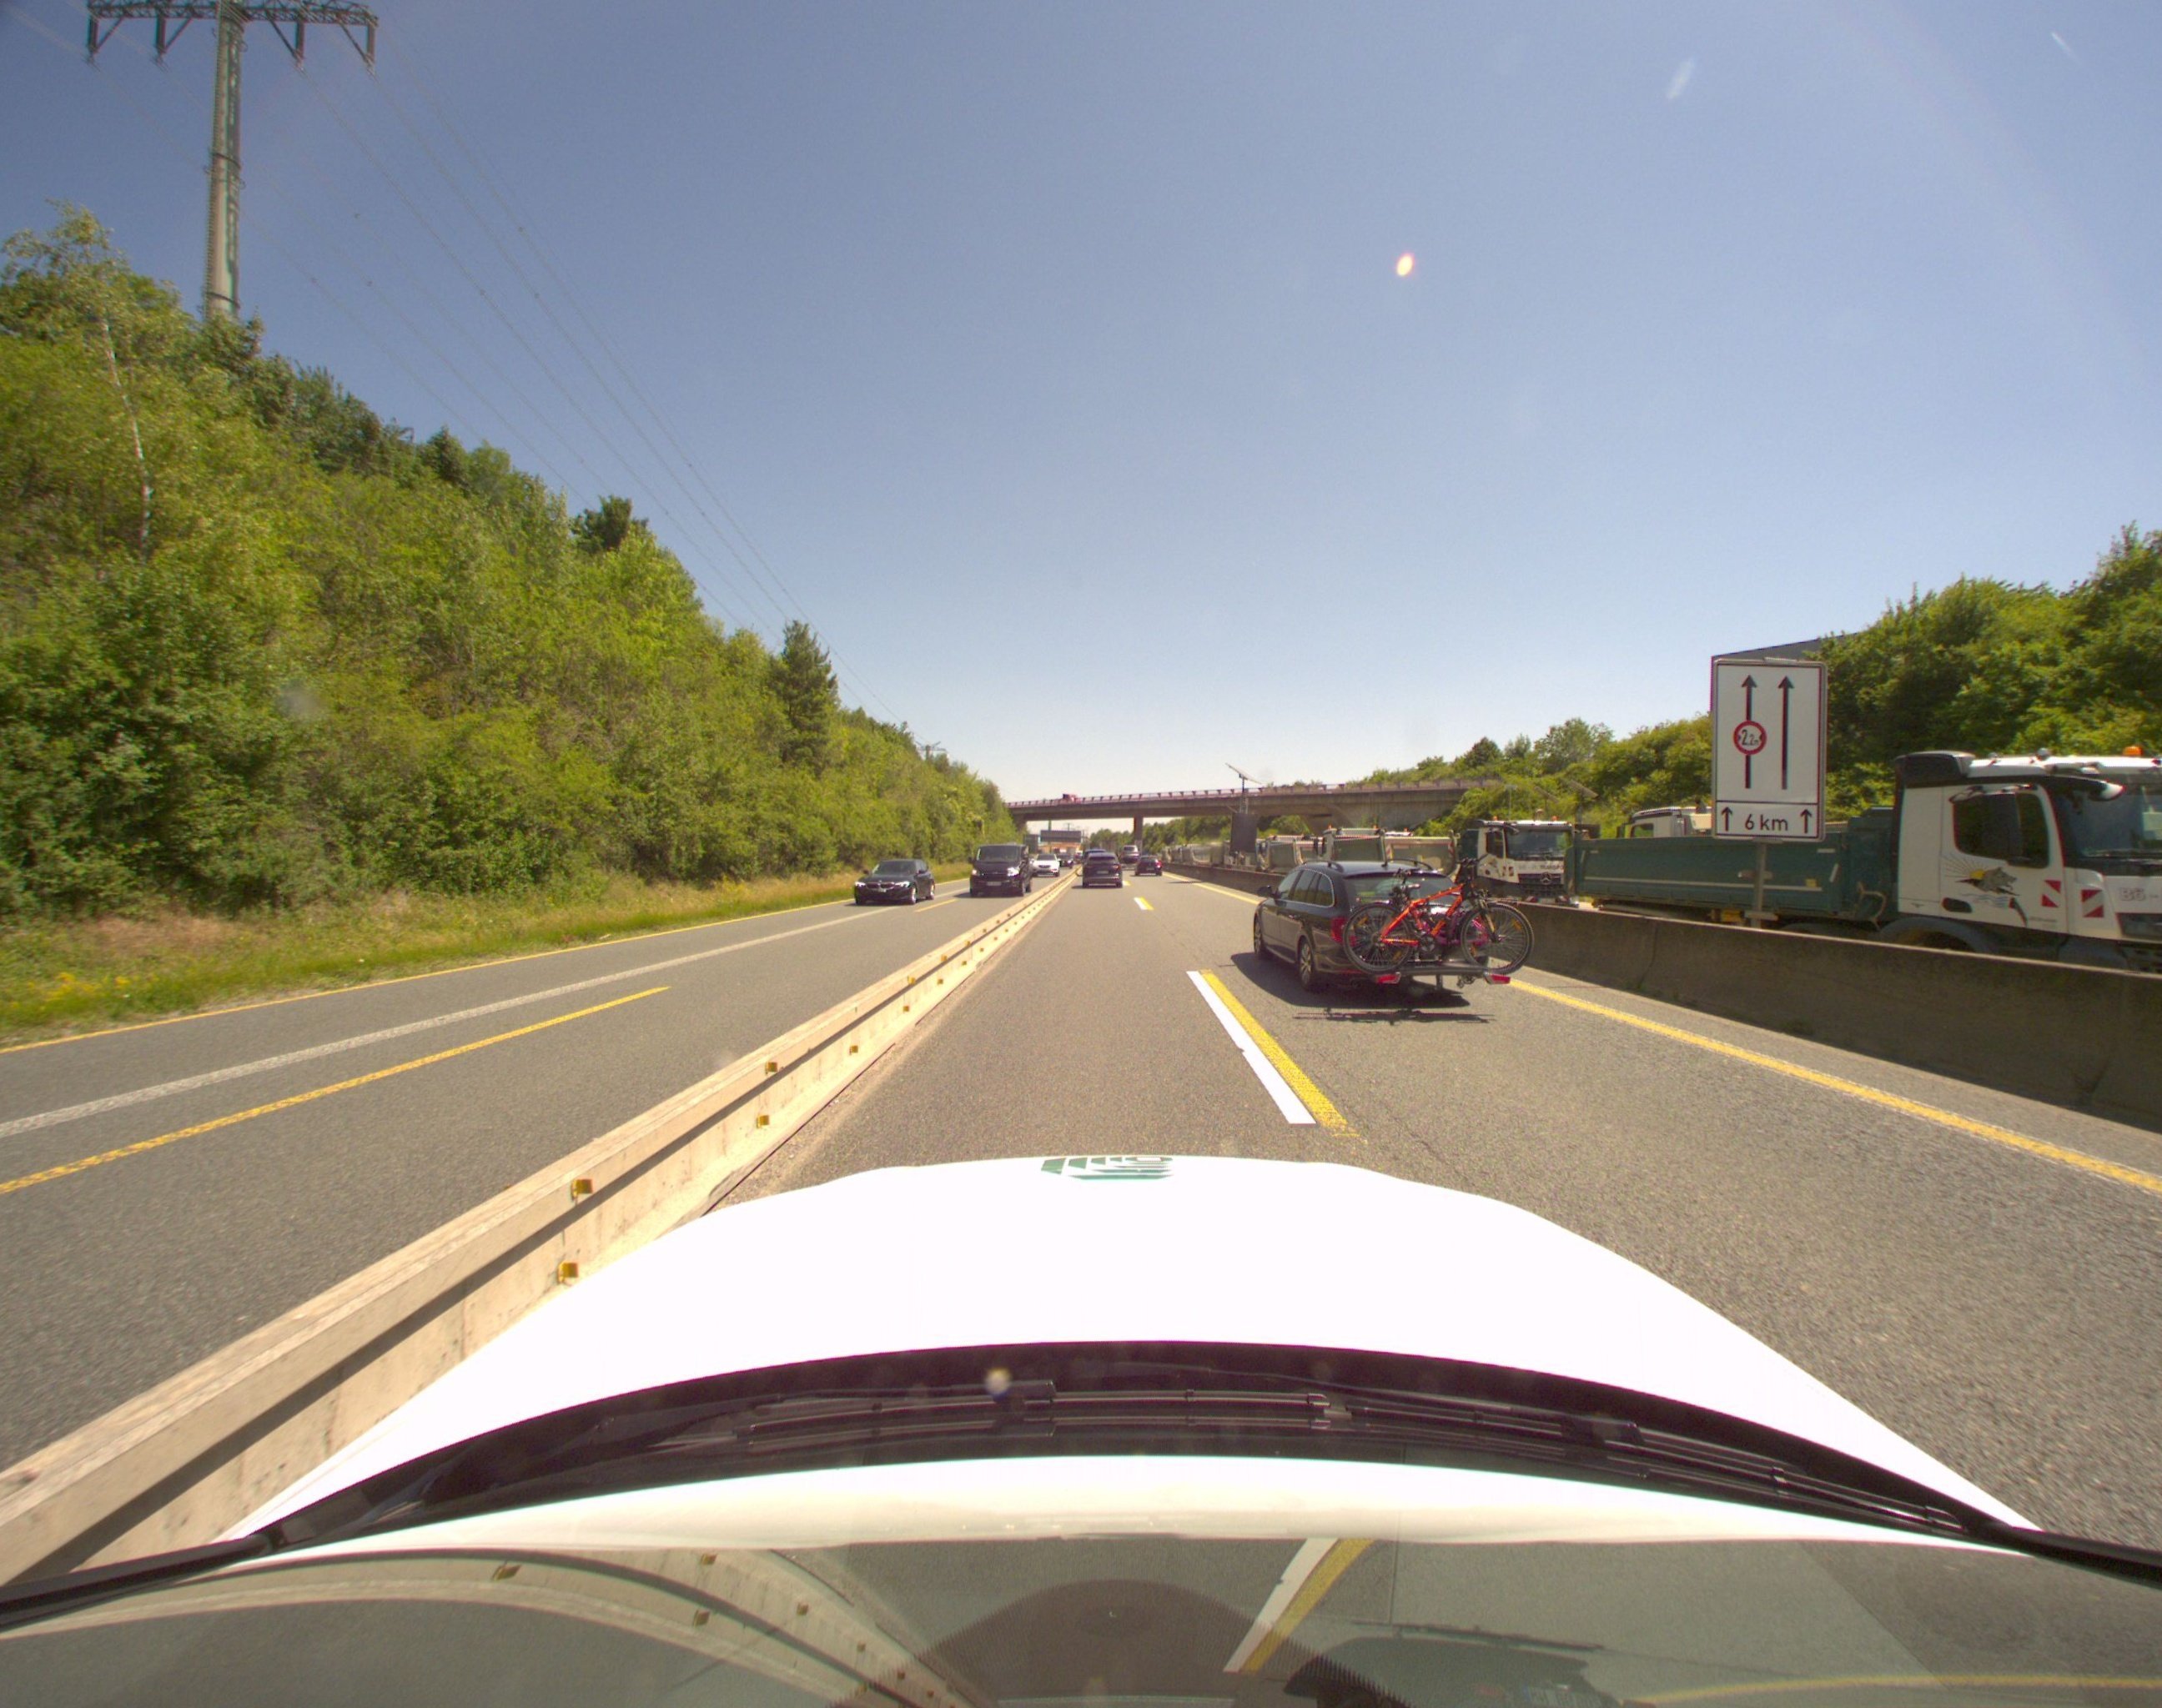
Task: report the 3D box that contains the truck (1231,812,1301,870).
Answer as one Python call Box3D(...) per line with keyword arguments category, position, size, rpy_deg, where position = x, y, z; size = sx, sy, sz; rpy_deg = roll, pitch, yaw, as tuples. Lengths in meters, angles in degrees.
Box3D(category="truck", position=(12.273, -0.785, 54.856), size=(2.678, 3.557, 9.325), rpy_deg=(0, 0, 0))

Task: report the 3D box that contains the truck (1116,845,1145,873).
Box3D(category="truck", position=(4.754, 0.468, 79.363), size=(2.398, 2.558, 7.499), rpy_deg=(0, 0, 0))

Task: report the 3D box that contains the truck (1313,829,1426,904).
Box3D(category="truck", position=(14.322, 0.574, 41.323), size=(2.677, 3.378, 9.608), rpy_deg=(0, 0, 2))

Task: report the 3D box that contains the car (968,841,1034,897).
Box3D(category="car", position=(-2.992, 0.539, 31.464), size=(1.883, 2.013, 4.820), rpy_deg=(0, 0, 2))

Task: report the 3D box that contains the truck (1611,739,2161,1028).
Box3D(category="truck", position=(13.991, 0.357, 14.817), size=(2.677, 3.557, 9.605), rpy_deg=(0, 0, 1))

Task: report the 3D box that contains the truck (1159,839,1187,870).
Box3D(category="truck", position=(11.906, 0.075, 106.388), size=(2.678, 3.843, 9.326), rpy_deg=(0, 0, 1))

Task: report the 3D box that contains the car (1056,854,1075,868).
Box3D(category="car", position=(-1.664, 0.744, 88.466), size=(1.837, 1.533, 4.672), rpy_deg=(1, 0, 1))

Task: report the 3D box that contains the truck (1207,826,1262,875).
Box3D(category="truck", position=(12.003, -0.268, 64.551), size=(2.678, 3.557, 9.325), rpy_deg=(0, 0, 0))

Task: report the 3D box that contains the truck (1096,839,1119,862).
Box3D(category="truck", position=(4.697, -0.591, 146.148), size=(3.286, 3.845, 10.096), rpy_deg=(0, 0, -4))

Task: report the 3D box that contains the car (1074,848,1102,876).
Box3D(category="car", position=(0.515, 0.559, 59.135), size=(1.892, 1.968, 4.278), rpy_deg=(0, 0, 2))

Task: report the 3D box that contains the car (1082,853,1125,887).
Box3D(category="car", position=(1.091, 0.722, 38.232), size=(1.892, 1.505, 4.278), rpy_deg=(0, 0, 2))

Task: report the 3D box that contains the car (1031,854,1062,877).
Box3D(category="car", position=(-2.355, 0.758, 57.098), size=(1.837, 1.533, 4.672), rpy_deg=(0, 0, 1))

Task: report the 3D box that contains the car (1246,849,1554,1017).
Box3D(category="car", position=(3.319, 0.717, 9.688), size=(1.892, 1.490, 4.950), rpy_deg=(0, 0, 2))

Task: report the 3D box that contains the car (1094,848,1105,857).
Box3D(category="car", position=(4.110, -0.422, 181.170), size=(1.895, 1.968, 4.270), rpy_deg=(0, 0, -4))

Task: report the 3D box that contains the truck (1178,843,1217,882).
Box3D(category="truck", position=(11.678, 0.806, 82.411), size=(2.678, 3.761, 9.326), rpy_deg=(0, 0, 1))

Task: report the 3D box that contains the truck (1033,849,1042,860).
Box3D(category="truck", position=(-12.518, 0.101, 232.110), size=(2.503, 3.186, 10.096), rpy_deg=(0, 0, -4))

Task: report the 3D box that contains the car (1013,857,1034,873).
Box3D(category="car", position=(-5.560, 1.063, 79.345), size=(1.693, 1.565, 3.996), rpy_deg=(0, 0, 1))

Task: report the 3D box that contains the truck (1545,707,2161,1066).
Box3D(category="truck", position=(11.224, 0.320, 12.853), size=(2.529, 3.557, 9.605), rpy_deg=(0, 0, 1))

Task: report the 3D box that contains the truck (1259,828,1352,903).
Box3D(category="truck", position=(11.729, 0.544, 43.531), size=(2.677, 3.557, 9.411), rpy_deg=(0, 0, 2))

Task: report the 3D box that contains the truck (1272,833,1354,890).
Box3D(category="truck", position=(14.879, 0.475, 53.083), size=(2.678, 3.378, 9.602), rpy_deg=(0, 0, 0))

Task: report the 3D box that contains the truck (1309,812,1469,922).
Box3D(category="truck", position=(11.268, 0.422, 31.029), size=(2.677, 3.557, 9.605), rpy_deg=(0, 0, 1))

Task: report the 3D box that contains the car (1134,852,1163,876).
Box3D(category="car", position=(4.738, 0.686, 57.597), size=(1.892, 1.585, 4.278), rpy_deg=(0, 0, 2))

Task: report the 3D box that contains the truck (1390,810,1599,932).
Box3D(category="truck", position=(13.928, 0.500, 28.659), size=(2.677, 3.557, 9.605), rpy_deg=(0, 0, 1))

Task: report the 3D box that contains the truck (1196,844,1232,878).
Box3D(category="truck", position=(14.922, 0.760, 91.867), size=(2.678, 3.727, 9.325), rpy_deg=(0, 0, 0))

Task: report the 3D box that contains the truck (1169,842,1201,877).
Box3D(category="truck", position=(11.906, 0.595, 93.830), size=(2.678, 3.856, 9.326), rpy_deg=(0, 0, 1))

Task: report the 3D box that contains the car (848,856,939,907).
Box3D(category="car", position=(-6.025, 0.820, 26.659), size=(1.786, 1.525, 4.533), rpy_deg=(0, 0, 2))
